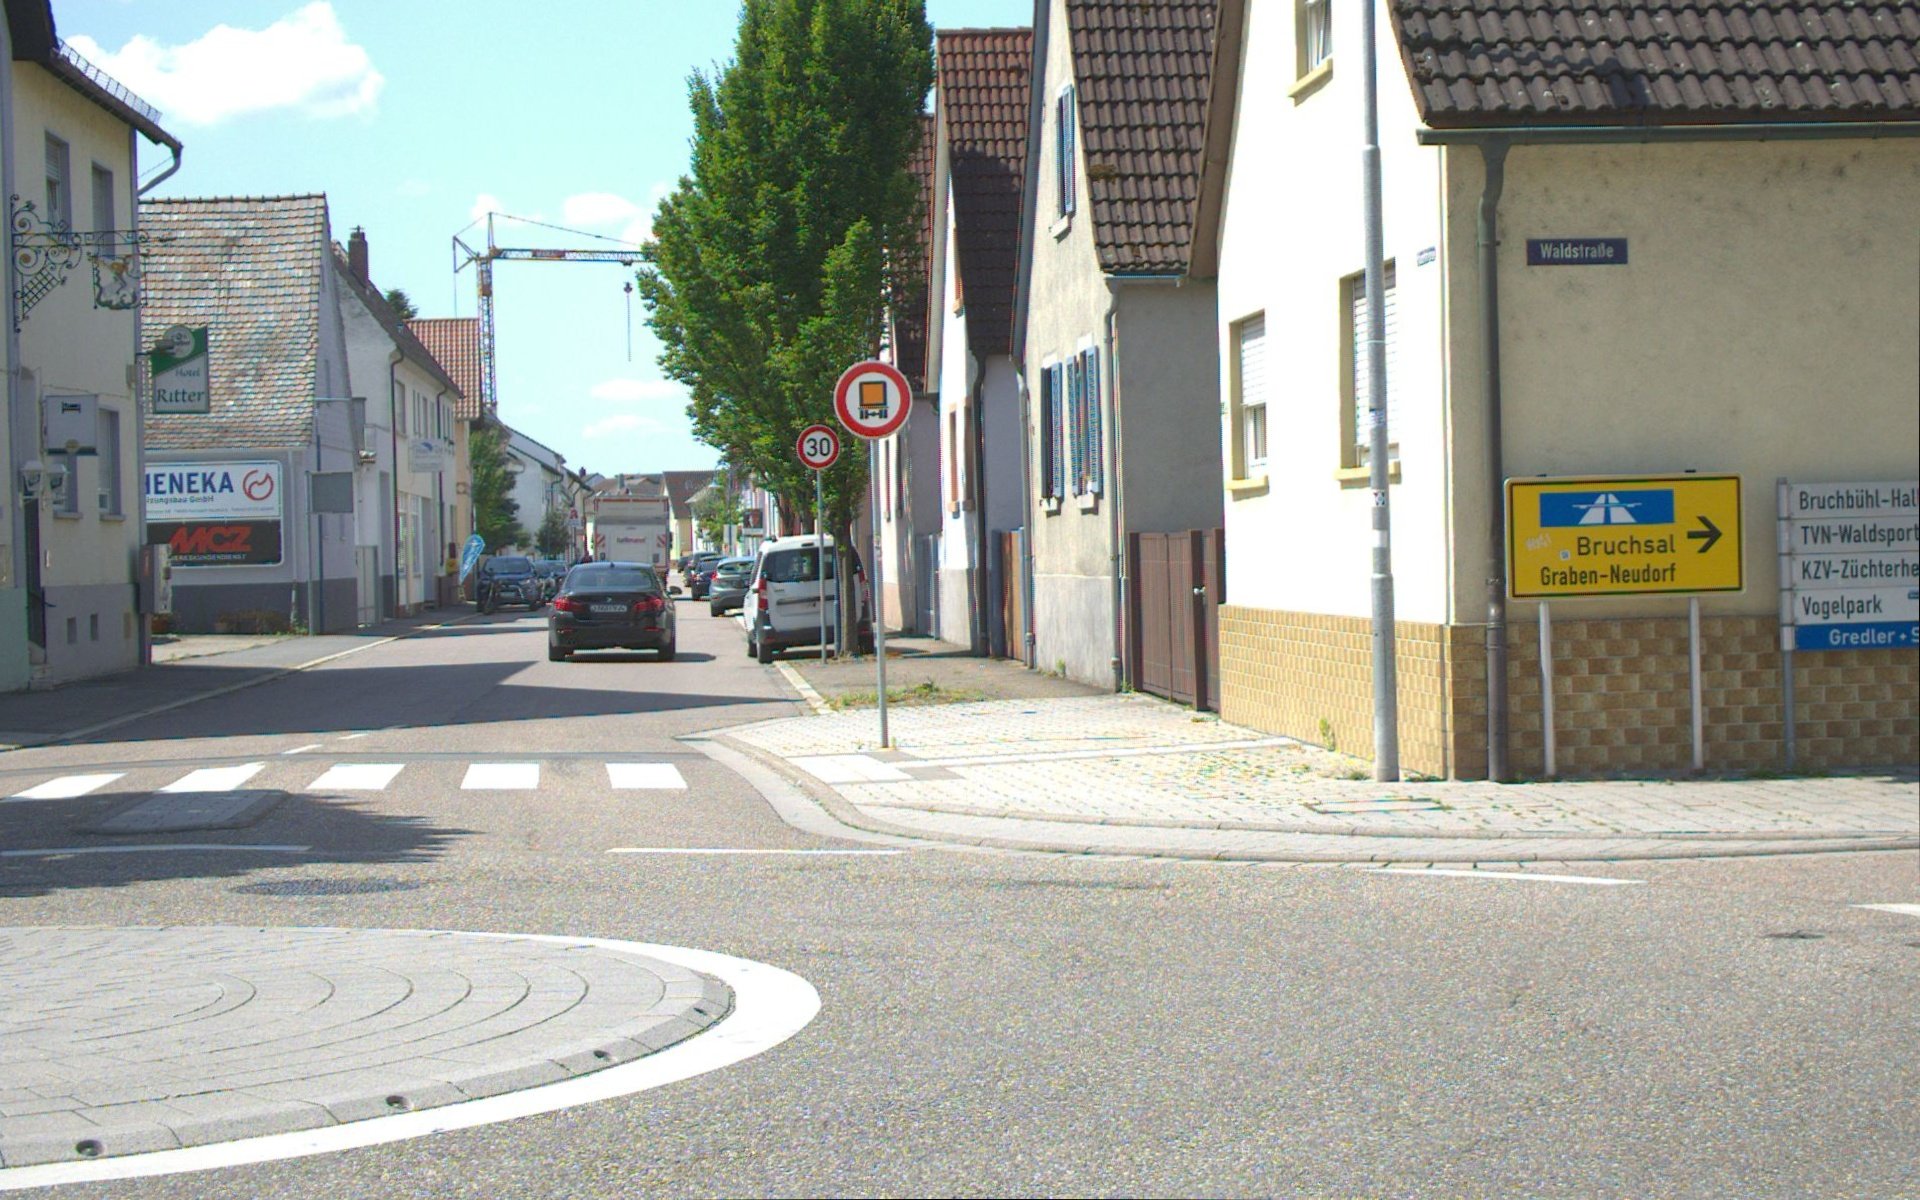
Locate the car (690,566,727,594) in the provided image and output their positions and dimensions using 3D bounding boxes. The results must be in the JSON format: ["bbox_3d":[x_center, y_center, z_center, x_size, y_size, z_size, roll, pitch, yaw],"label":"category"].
[{"bbox_3d":[-12.095,-0.974,165.034,1.719,1.264,4.157,-1,1,-5],"label":"car"}]

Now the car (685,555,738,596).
[{"bbox_3d":[-8.412,-0.838,116.053,1.719,1.350,4.157,-1,1,-5],"label":"car"}]

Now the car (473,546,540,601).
[{"bbox_3d":[-13.380,-0.806,101.653,1.809,1.583,4.001,-1,1,-6],"label":"car"}]

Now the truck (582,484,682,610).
[{"bbox_3d":[-11.446,-1.821,120.675,3.144,4.236,9.303,1,0,-4],"label":"truck"}]

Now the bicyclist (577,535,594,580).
[{"bbox_3d":[-16.925,-1.918,155.395,0.740,2.052,0.844,1,0,-5],"label":"bicyclist"}]

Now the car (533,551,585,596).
[{"bbox_3d":[-14.746,-0.984,126.603,1.809,1.583,4.001,-1,1,-6],"label":"car"}]

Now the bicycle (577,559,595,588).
[{"bbox_3d":[-16.922,-1.213,155.559,0.751,1.303,2.686,1,0,-5],"label":"bicycle"}]

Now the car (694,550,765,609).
[{"bbox_3d":[-5.858,-0.542,87.689,1.719,1.456,4.157,-1,1,-3],"label":"car"}]

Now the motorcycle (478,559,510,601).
[{"bbox_3d":[-13.245,-0.563,97.748,0.846,1.166,2.470,1,0,-6],"label":"motorcycle"}]

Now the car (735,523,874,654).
[{"bbox_3d":[-2.359,-0.195,51.227,1.719,1.784,4.145,-3,1,-6],"label":"car"}]

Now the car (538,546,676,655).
[{"bbox_3d":[-5.321,-0.027,52.296,1.902,1.558,4.477,-1,1,-4],"label":"car"}]
